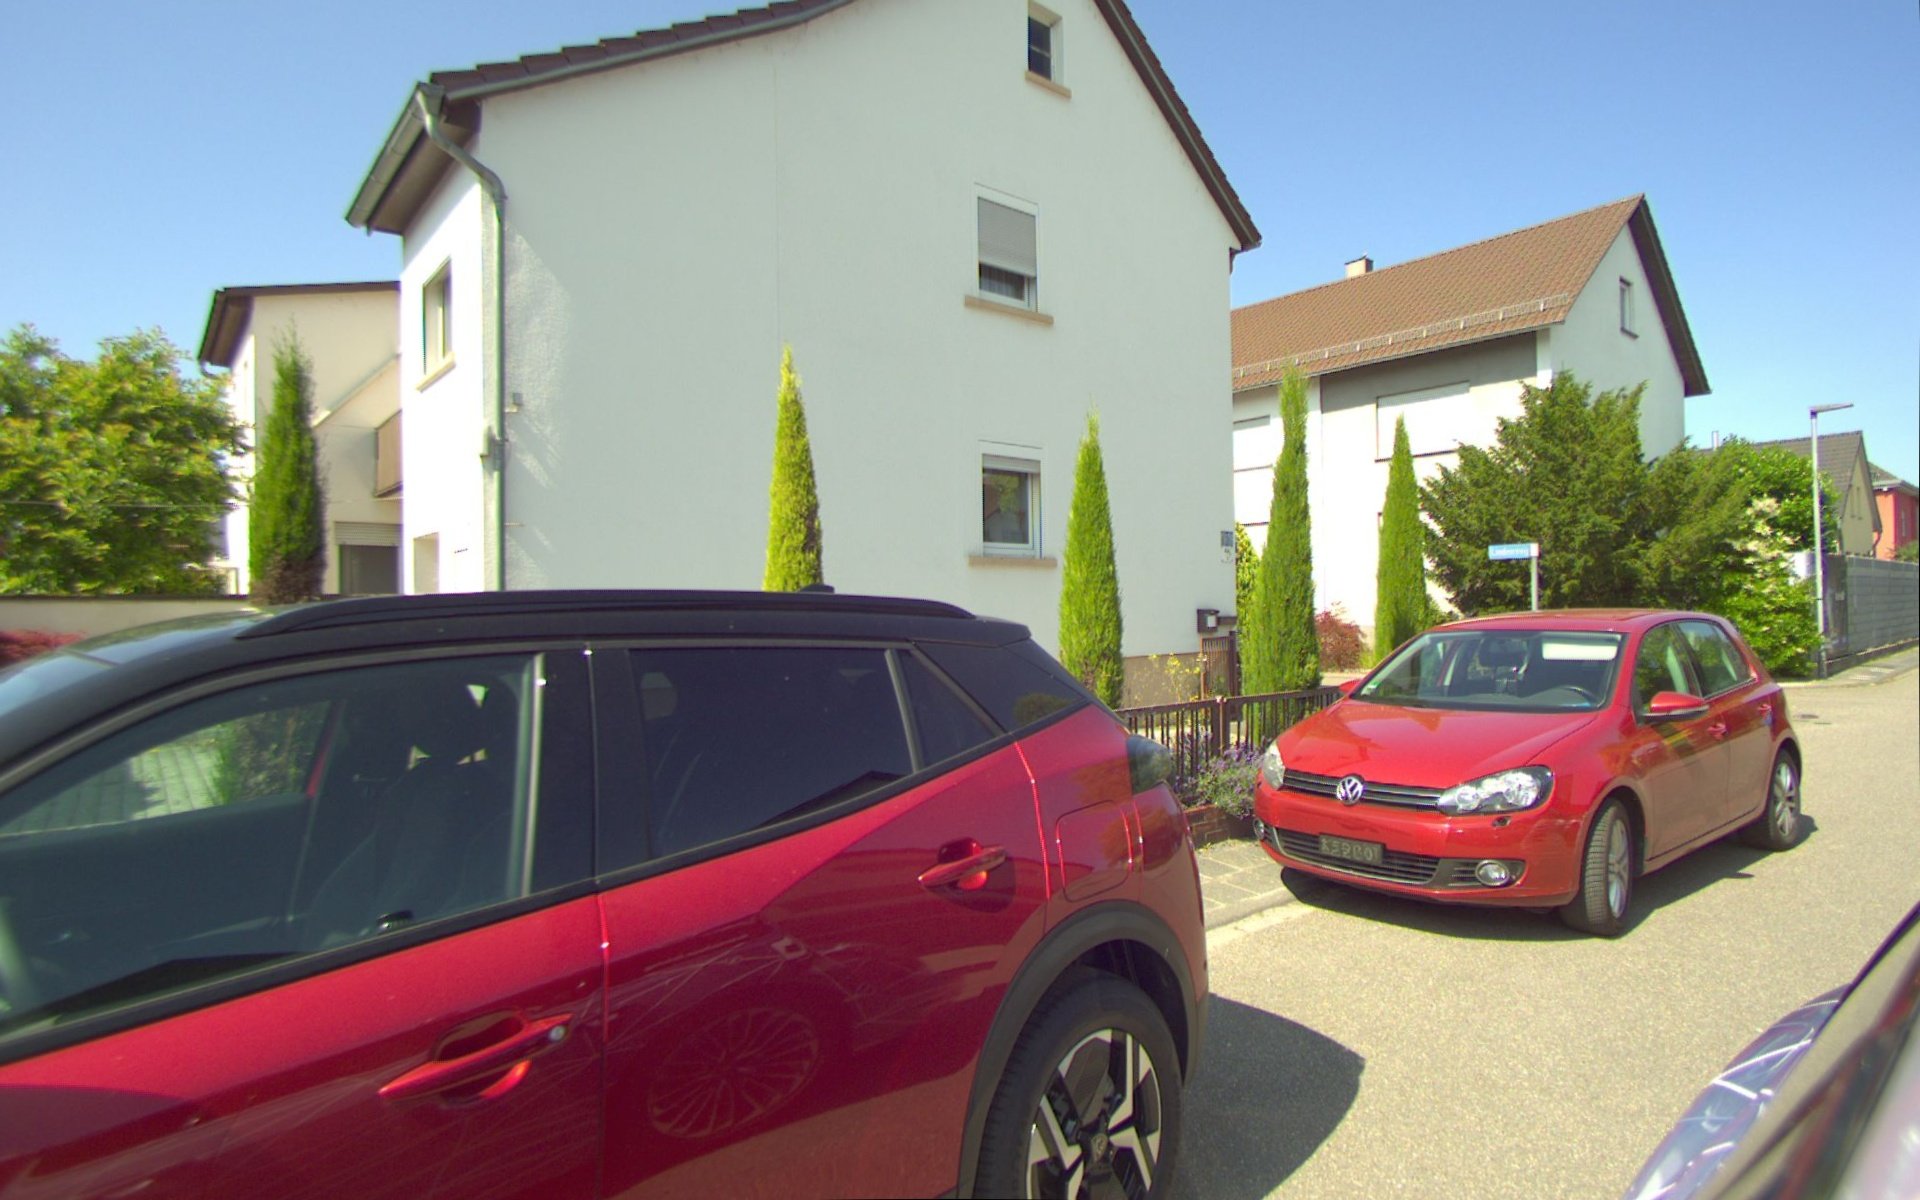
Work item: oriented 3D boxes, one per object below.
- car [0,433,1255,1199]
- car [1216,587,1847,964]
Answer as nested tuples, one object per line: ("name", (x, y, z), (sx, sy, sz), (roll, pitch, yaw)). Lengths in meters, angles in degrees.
("car", (-1.390, 0.691, 1.681), (3.933, 1.636, 1.824), (-1, -2, -43))
("car", (3.529, 0.735, 6.009), (3.926, 1.498, 1.780), (-1, -2, -37))
